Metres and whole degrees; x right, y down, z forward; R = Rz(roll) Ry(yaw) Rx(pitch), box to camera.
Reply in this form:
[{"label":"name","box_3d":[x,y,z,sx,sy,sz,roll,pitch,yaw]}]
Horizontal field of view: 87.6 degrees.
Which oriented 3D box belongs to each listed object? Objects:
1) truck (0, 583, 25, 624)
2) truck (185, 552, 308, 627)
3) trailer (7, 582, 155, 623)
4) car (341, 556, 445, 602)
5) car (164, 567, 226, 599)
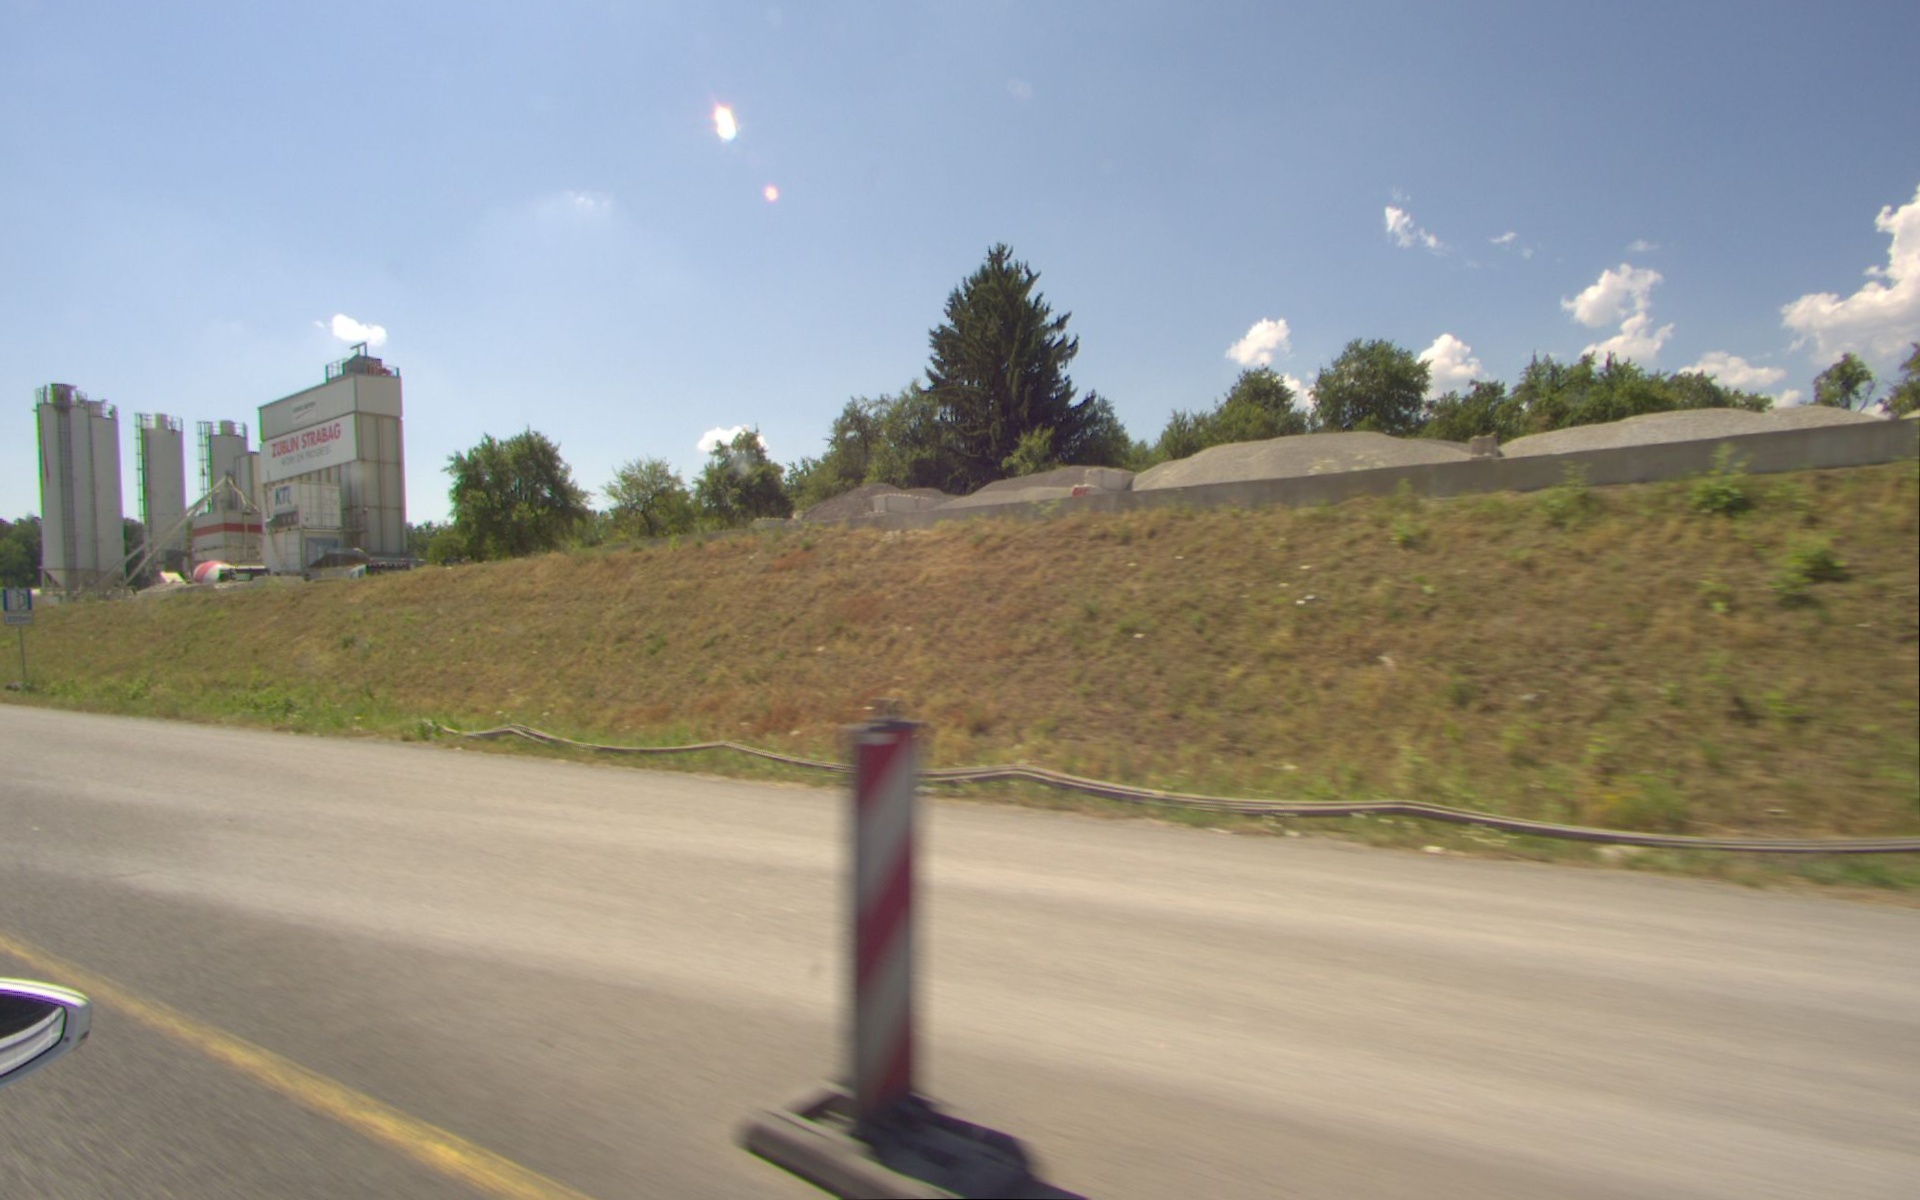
[{"label":"truck","box_3d":[-76.631,0.336,79.153,2.866,3.154,5.975,-1,0,-33]},{"label":"truck","box_3d":[-44.639,-0.539,62.490,9.799,4.353,3.424,-1,0,37]},{"label":"trailer","box_3d":[-74.537,0.268,85.214,3.271,3.271,9.011,-1,0,18]},{"label":"car","box_3d":[-26.845,-0.941,47.397,4.922,2.040,2.218,-1,0,32]},{"label":"car","box_3d":[-52.096,-1.133,68.169,4.365,2.040,1.989,-1,0,33]}]
